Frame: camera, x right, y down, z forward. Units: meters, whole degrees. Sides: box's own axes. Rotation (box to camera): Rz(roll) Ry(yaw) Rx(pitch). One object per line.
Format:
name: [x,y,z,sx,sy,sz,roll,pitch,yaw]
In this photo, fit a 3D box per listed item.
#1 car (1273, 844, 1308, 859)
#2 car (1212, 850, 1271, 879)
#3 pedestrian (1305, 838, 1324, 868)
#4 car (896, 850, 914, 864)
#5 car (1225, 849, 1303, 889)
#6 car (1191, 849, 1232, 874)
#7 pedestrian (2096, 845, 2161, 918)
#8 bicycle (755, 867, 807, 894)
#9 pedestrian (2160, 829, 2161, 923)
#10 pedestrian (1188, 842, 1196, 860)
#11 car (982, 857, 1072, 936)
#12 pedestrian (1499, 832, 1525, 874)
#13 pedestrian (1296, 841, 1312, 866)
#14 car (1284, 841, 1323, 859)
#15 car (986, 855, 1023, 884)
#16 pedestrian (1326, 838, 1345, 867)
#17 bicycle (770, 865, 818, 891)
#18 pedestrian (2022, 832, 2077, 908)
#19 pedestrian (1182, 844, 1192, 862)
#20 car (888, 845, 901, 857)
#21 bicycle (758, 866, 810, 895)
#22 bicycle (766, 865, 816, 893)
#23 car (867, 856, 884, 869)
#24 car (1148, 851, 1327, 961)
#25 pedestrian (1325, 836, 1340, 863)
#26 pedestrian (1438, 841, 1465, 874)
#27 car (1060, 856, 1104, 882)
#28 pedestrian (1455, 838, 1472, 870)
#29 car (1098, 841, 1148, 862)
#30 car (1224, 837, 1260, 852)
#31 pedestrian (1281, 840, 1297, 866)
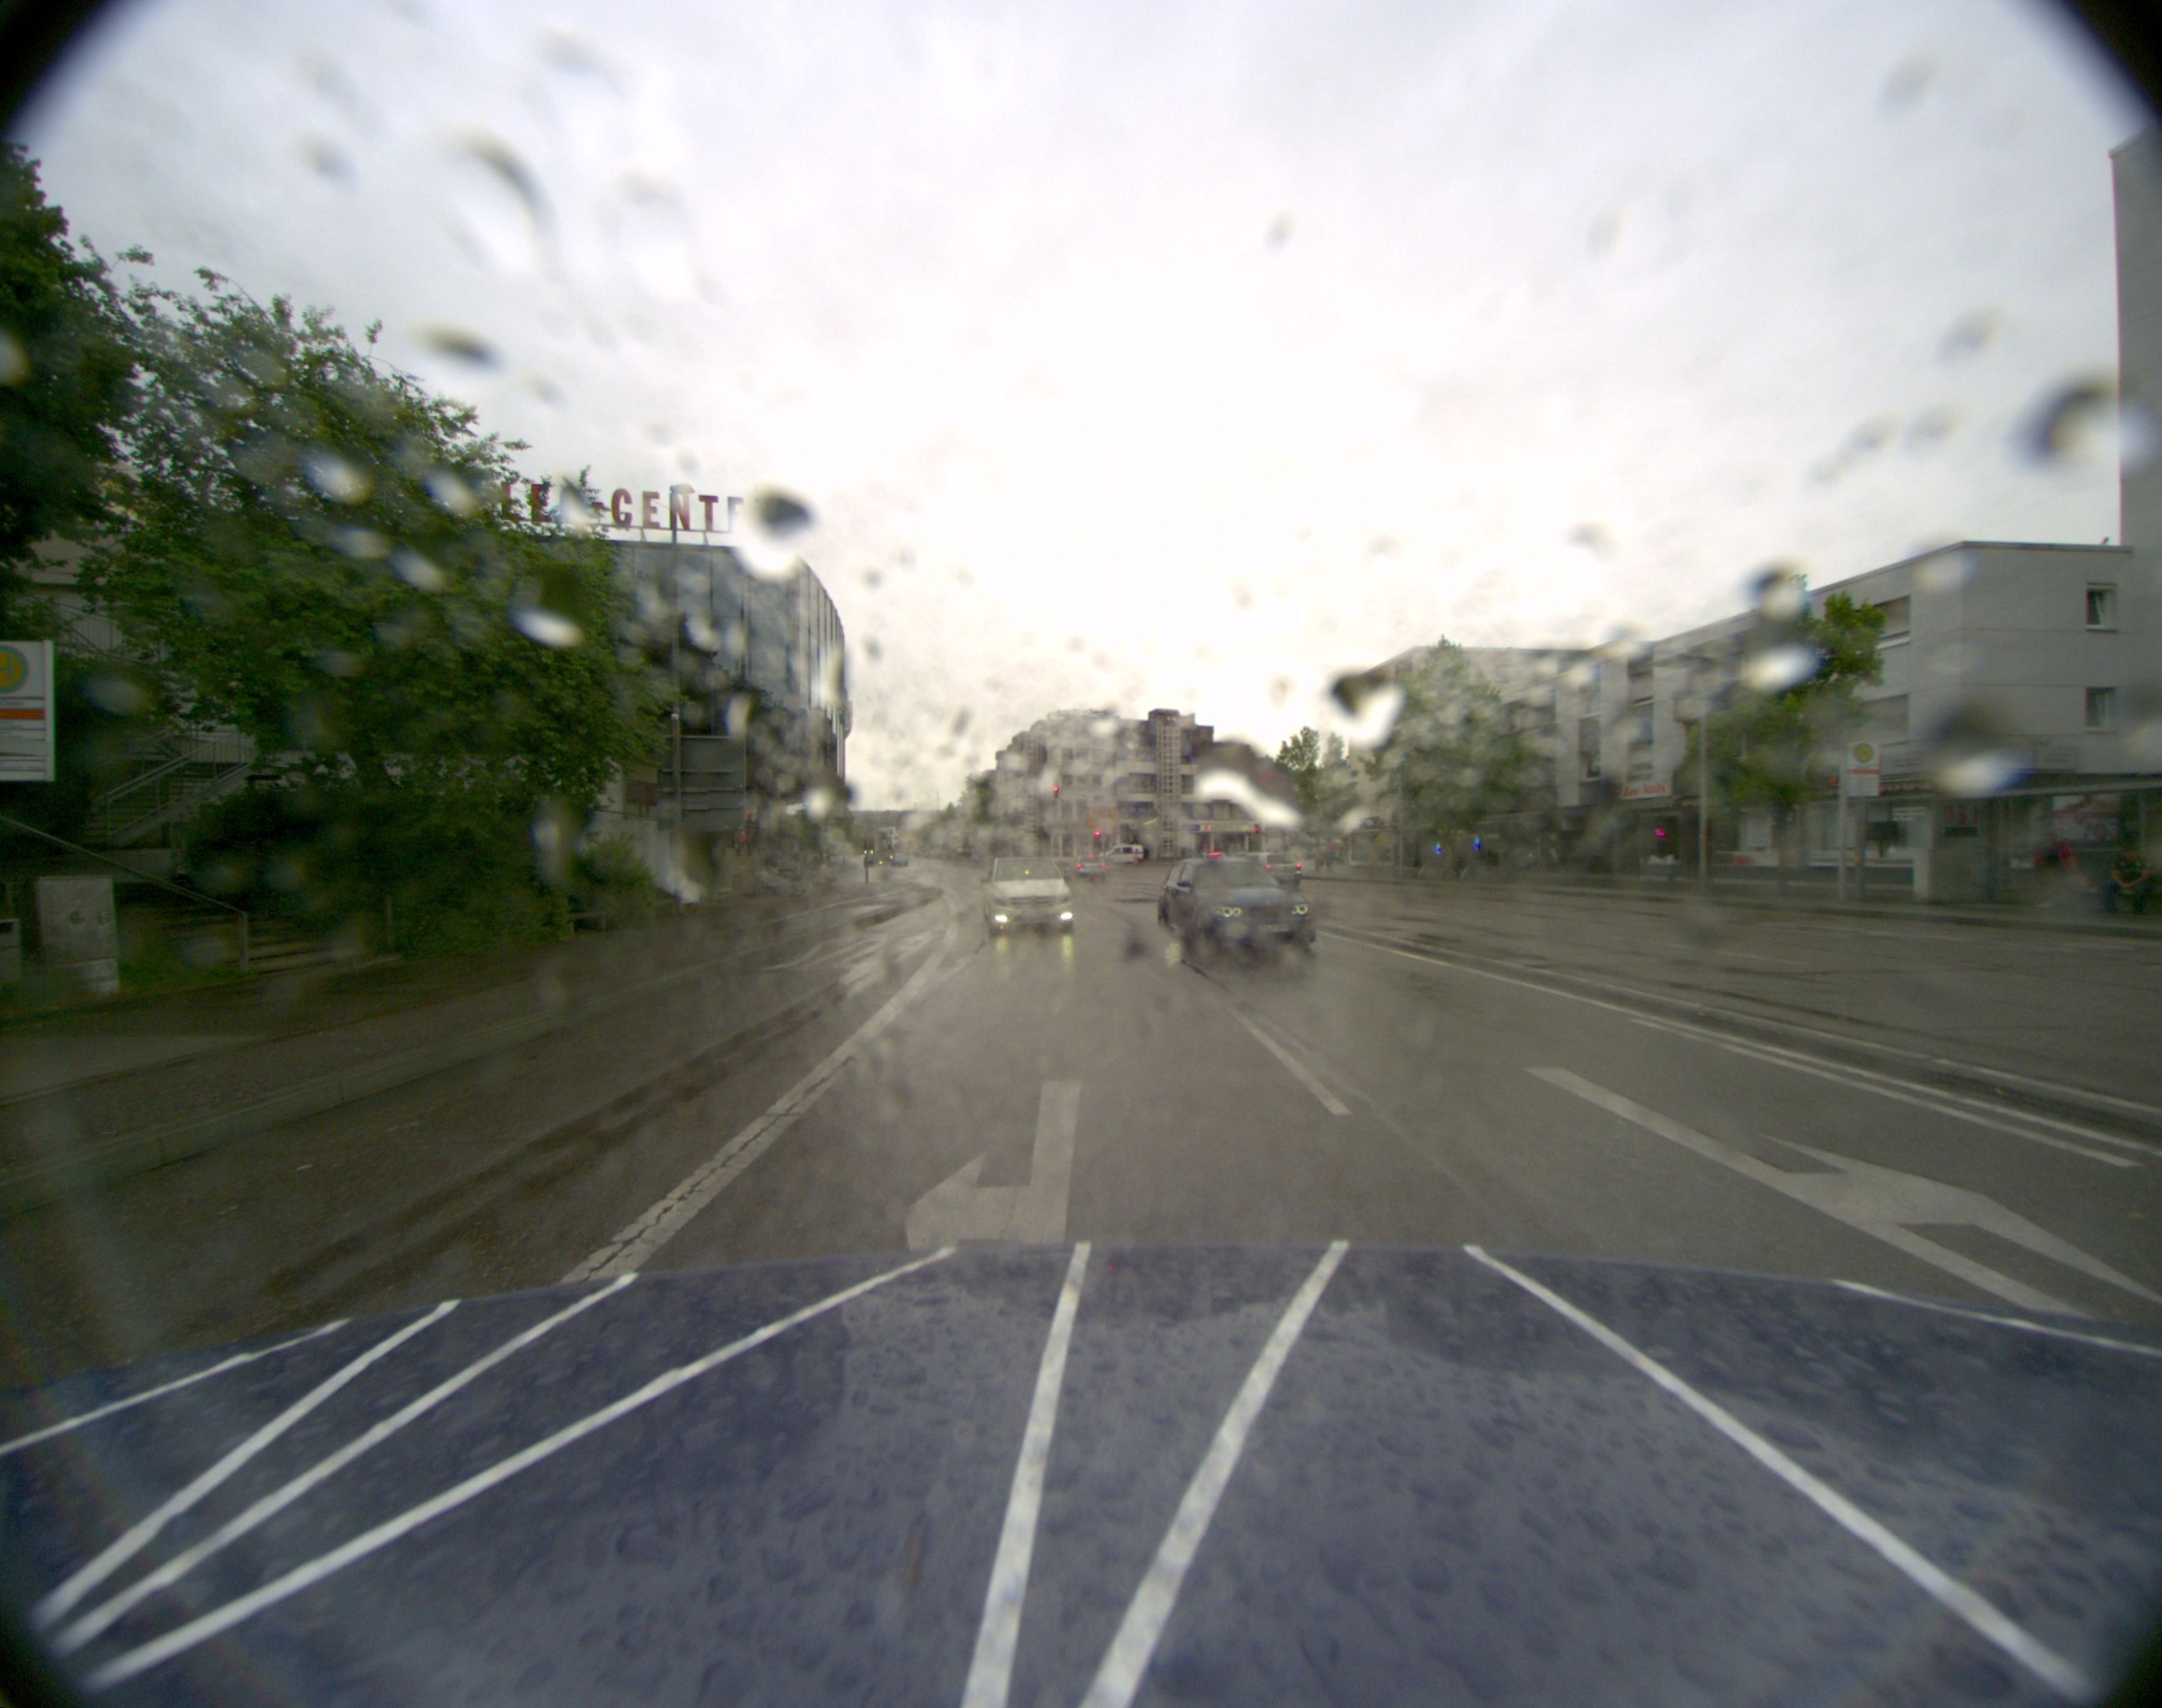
car: [26.187,-0.315,94.912,3.900,1.710,1.744,-1,1,-24]
car: [8.412,0.532,40.080,1.763,1.418,3.997,-1,0,-8]
pedestrian: [15.999,-0.054,52.140,0.906,2.002,0.977,-1,0,-6]
car: [-20.930,0.355,90.188,1.903,1.517,3.994,-1,0,-16]
car: [7.171,0.538,30.154,1.705,1.457,4.101,0,0,-6]
car: [7.973,0.421,46.776,1.762,1.418,4.887,-1,1,1]
pedestrian: [19.808,0.511,14.328,0.536,1.344,0.578,-1,1,1]
bicycle: [-12.065,1.062,30.563,1.807,1.079,0.684,1,0,-8]
pedestrian: [19.173,0.376,13.070,0.479,1.649,0.536,-1,1,-4]
pedestrian: [10.902,-0.309,74.632,0.682,1.733,0.585,-1,1,20]
car: [-1.269,0.854,17.397,1.762,1.540,4.325,-1,0,-5]
pedestrian: [20.989,-0.034,37.001,0.760,2.002,0.864,-1,1,-4]
pedestrian: [16.950,-0.035,57.758,0.906,1.904,0.977,-1,0,-6]
car: [26.037,-0.515,88.878,4.606,2.002,1.995,-1,1,-35]
car: [-4.094,0.802,41.021,1.632,1.481,3.839,-1,0,0]
pedestrian: [17.513,-0.116,52.310,0.906,2.002,0.977,-1,0,-6]
bicycle: [-12.435,1.032,32.944,1.836,1.104,0.693,1,1,-8]
pedestrian: [19.678,0.314,15.441,0.537,1.496,0.614,-1,1,-28]
pedestrian: [10.160,-0.088,73.123,0.838,1.733,0.585,-2,1,0]
car: [-26.261,-0.468,106.953,1.585,1.630,3.635,-1,1,-15]
bicycle: [-11.733,1.061,30.061,1.816,1.104,0.693,1,0,-8]
bicycle: [-12.038,1.025,31.559,1.816,1.104,0.693,1,0,-8]
car: [-24.497,0.976,90.599,1.903,1.517,3.994,-1,0,-16]
car: [2.440,0.754,12.868,1.677,1.534,3.910,-1,0,-9]
pedestrian: [18.782,-0.303,56.831,0.761,2.002,0.863,-1,1,-7]
pedestrian: [18.877,0.188,38.701,1.010,1.636,0.726,-1,1,-6]
car: [0.015,0.889,45.192,1.764,1.442,3.996,-1,0,-12]
pedestrian: [20.693,0.000,41.112,0.549,1.740,0.680,-1,1,-4]
car: [4.289,-0.256,77.741,4.602,2.002,1.996,-1,1,-20]
car: [19.401,-1.148,91.402,3.900,1.710,1.744,-1,1,-24]
pedestrian: [15.835,-0.078,57.784,0.906,1.904,0.977,-1,0,-4]
